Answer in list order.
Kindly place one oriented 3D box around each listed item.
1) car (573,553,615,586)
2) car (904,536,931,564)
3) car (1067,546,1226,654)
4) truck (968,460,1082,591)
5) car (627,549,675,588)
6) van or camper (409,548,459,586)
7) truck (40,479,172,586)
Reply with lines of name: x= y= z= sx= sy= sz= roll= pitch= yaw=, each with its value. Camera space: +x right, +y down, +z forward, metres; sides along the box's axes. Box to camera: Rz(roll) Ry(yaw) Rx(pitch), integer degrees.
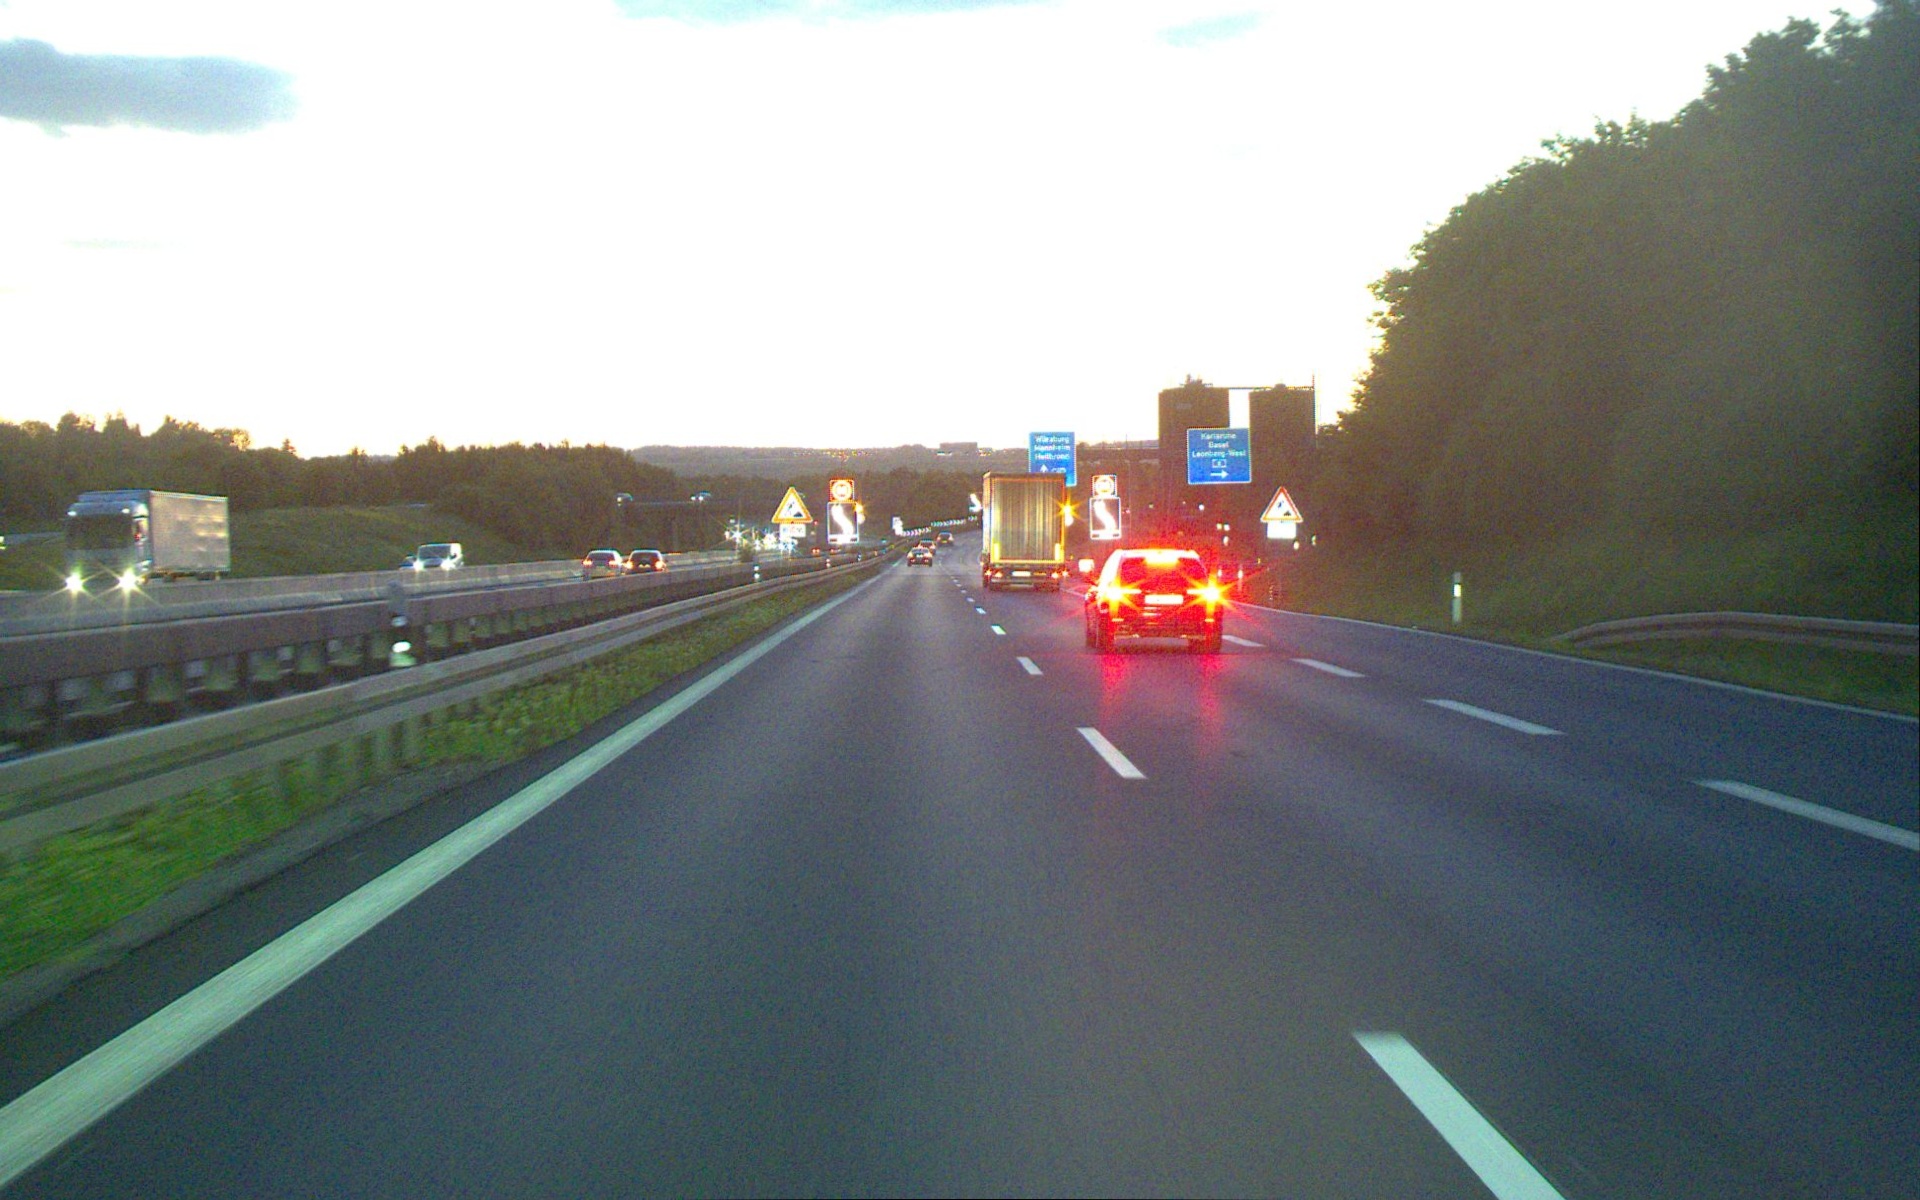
car: x=-17.549 y=-1.476 z=164.788 sx=1.638 sy=1.541 sz=3.395 roll=-2 pitch=1 yaw=0
car: x=-3.270 y=-3.806 z=262.223 sx=1.993 sy=2.007 sz=4.000 roll=-2 pitch=1 yaw=-1
car: x=2.647 y=-0.022 z=49.685 sx=1.915 sy=1.437 sz=4.000 roll=-2 pitch=1 yaw=-2
truck: x=2.177 y=-2.541 z=119.778 sx=3.509 sy=4.286 sz=9.892 roll=-2 pitch=1 yaw=-1
car: x=-13.329 y=-1.360 z=148.351 sx=1.713 sy=1.600 sz=3.722 roll=-2 pitch=1 yaw=-1
van or camper: x=-26.795 y=-1.690 z=175.176 sx=1.890 sy=1.900 sz=5.541 roll=0 pitch=1 yaw=-2
truck: x=-30.336 y=-2.376 z=122.301 sx=3.309 sy=3.607 sz=5.498 roll=-2 pitch=1 yaw=-1
